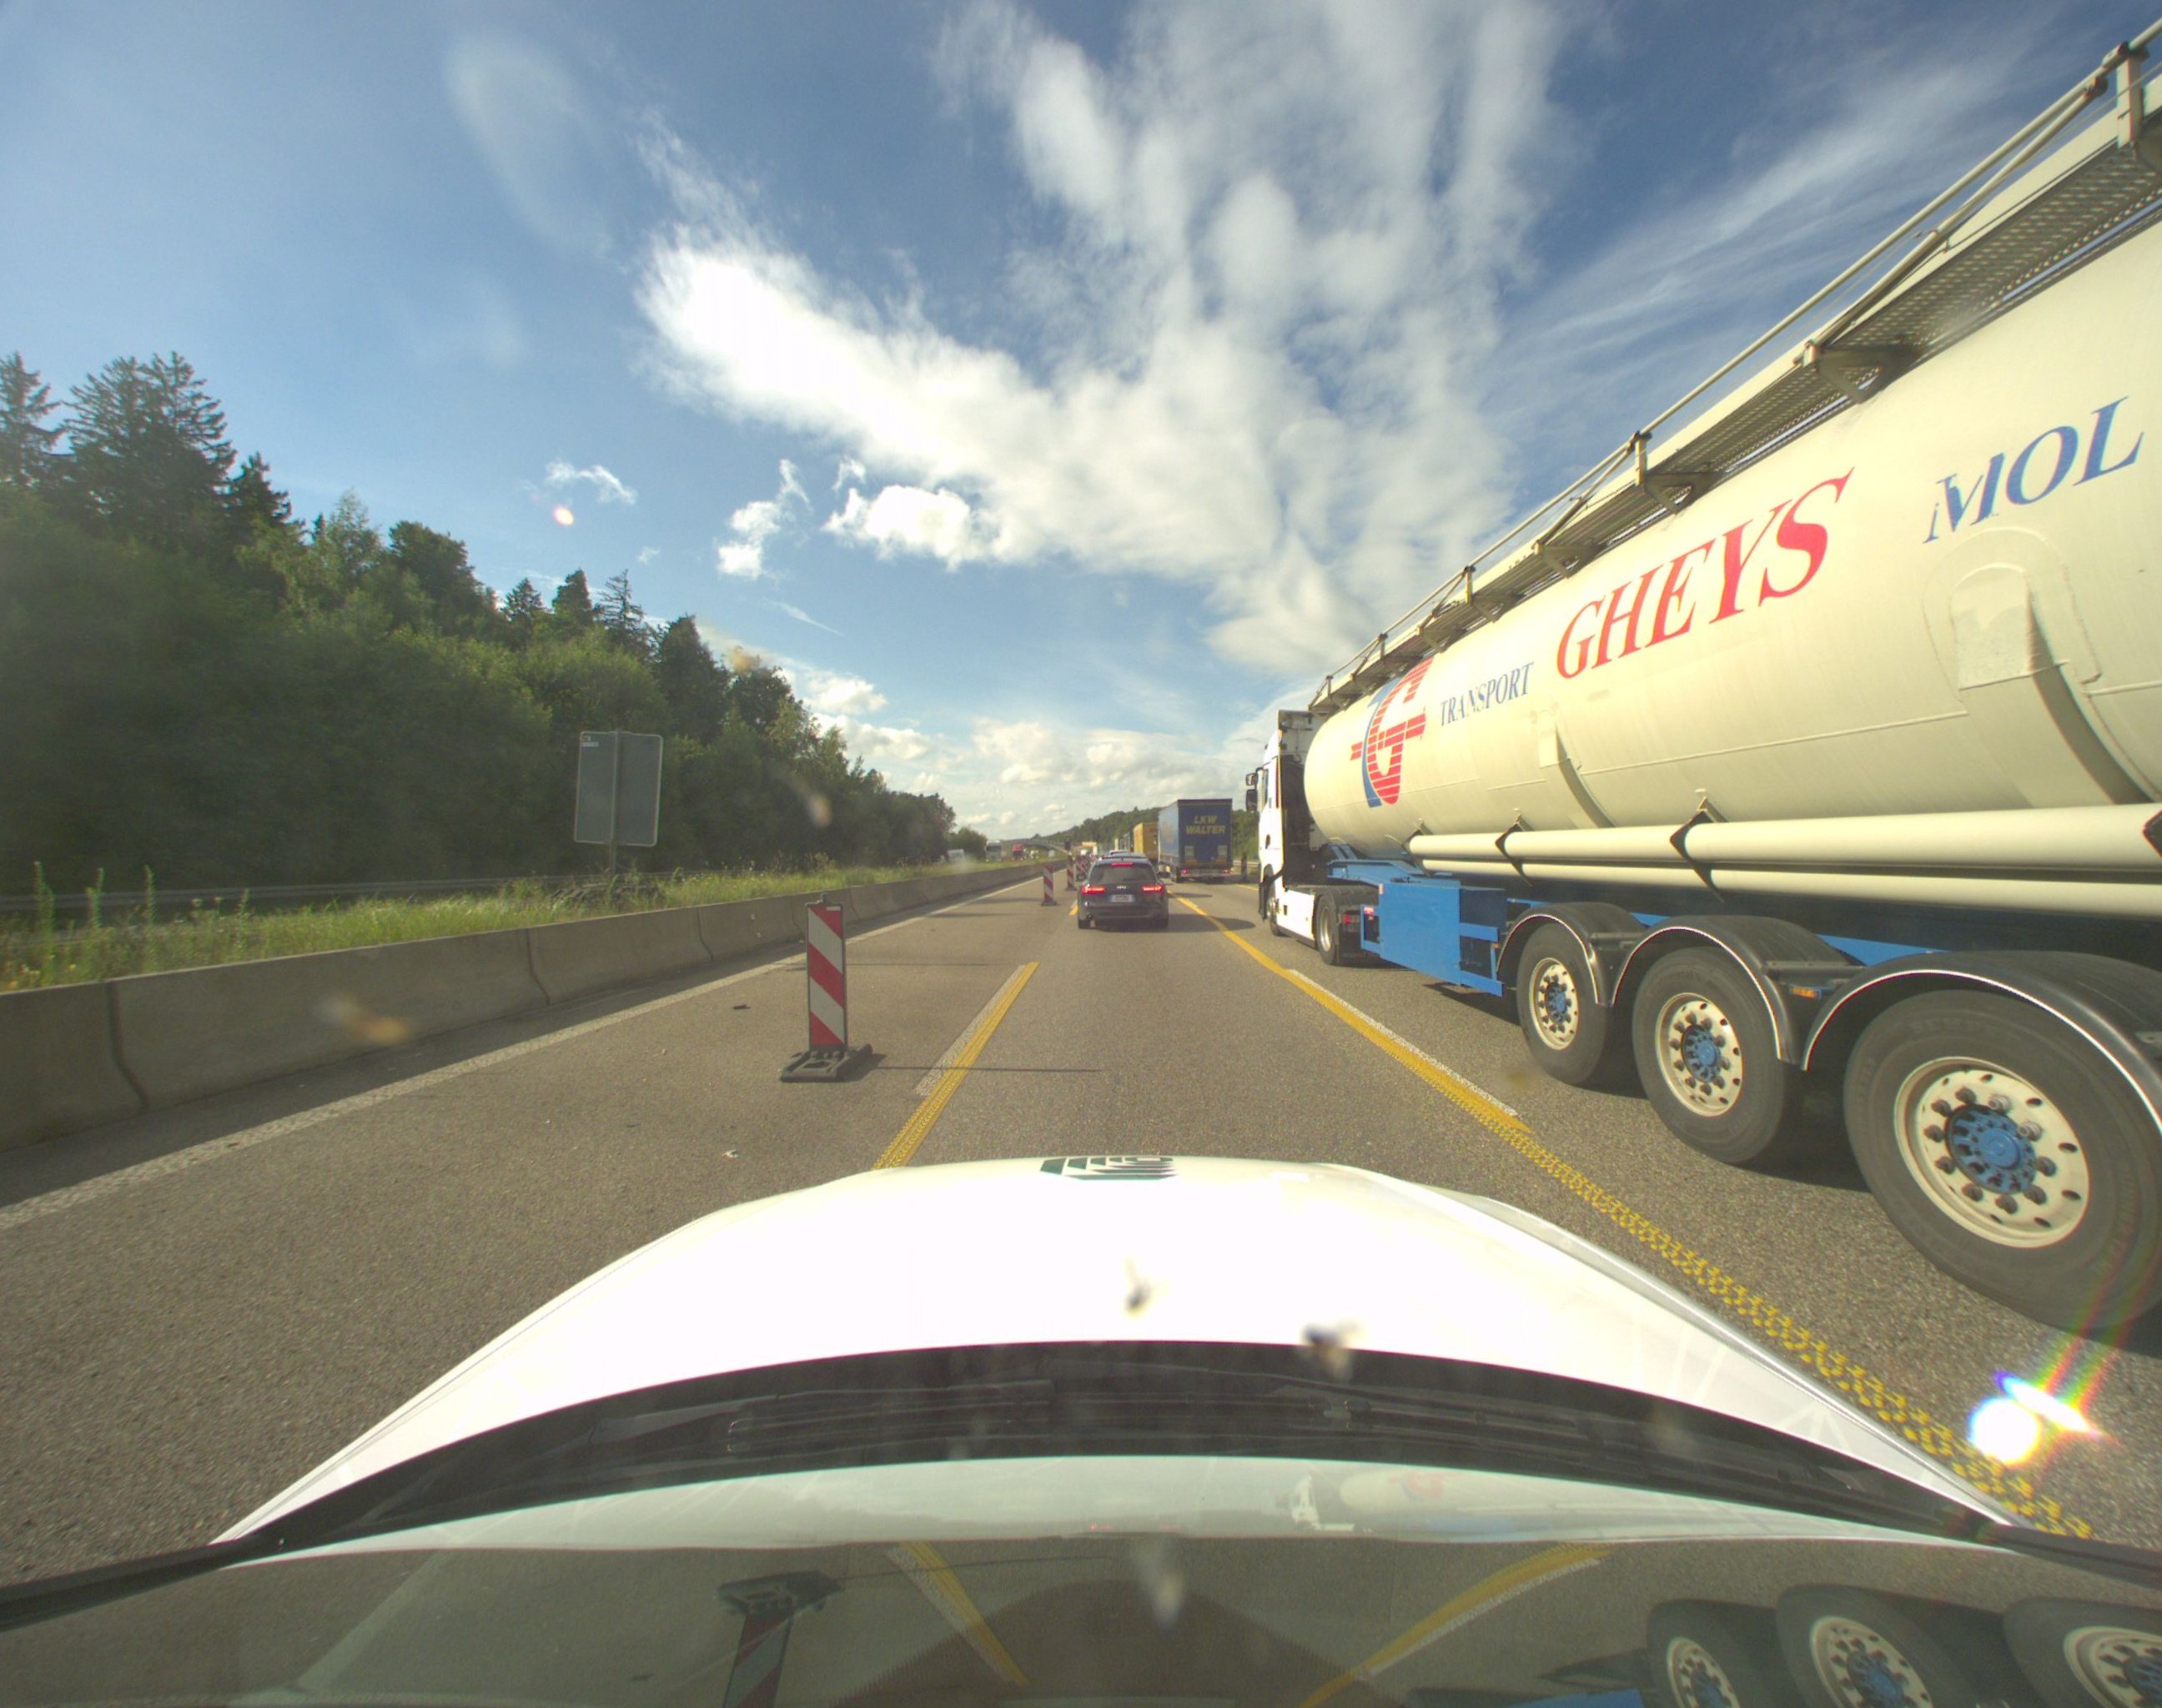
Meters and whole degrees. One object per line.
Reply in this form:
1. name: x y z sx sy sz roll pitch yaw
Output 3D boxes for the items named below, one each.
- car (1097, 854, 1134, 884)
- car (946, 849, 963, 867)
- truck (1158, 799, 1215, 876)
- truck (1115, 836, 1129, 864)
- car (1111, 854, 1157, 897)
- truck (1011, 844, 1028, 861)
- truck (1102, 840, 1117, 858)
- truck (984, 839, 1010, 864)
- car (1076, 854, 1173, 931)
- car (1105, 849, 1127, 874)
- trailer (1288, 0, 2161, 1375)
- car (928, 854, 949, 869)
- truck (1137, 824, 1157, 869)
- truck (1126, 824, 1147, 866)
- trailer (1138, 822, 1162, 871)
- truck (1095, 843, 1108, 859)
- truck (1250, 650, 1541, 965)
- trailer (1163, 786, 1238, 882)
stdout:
1. car: 1.701 0.738 40.169 1.744 1.397 3.610 0 -1 2
2. car: -18.791 0.568 121.208 2.247 2.643 5.010 0 -1 -5
3. truck: 6.337 -0.893 49.999 2.795 4.370 7.796 0 -1 2
4. truck: 6.528 -0.594 130.884 2.129 4.257 7.074 0 -1 2
5. car: 1.857 0.744 29.139 1.518 1.439 3.287 0 -1 2
6. truck: -14.665 -0.373 195.534 2.789 3.992 10.192 -1 0 3
7. truck: 6.827 -1.140 194.179 3.293 4.175 9.702 -1 0 1
8. truck: -14.010 -0.308 137.116 2.771 3.985 10.867 0 -1 2
9. car: 0.918 0.758 17.680 1.841 1.463 4.002 -1 -1 2
10. car: 2.554 0.548 59.811 1.575 1.837 3.113 0 -1 2
11. trailer: 4.278 -0.625 6.300 2.634 3.943 12.604 0 0 2
12. car: -19.408 1.015 111.353 1.986 2.014 4.002 0 -1 2
13. truck: 5.873 -0.642 72.679 1.604 3.897 4.073 0 -1 2
14. truck: 6.736 -1.061 99.915 1.986 4.914 9.564 0 0 1
15. trailer: 5.749 -0.598 68.415 1.610 3.918 6.491 0 -1 2
16. truck: 5.572 -0.821 225.273 3.294 4.174 9.699 -1 0 -1
17. truck: 4.574 -0.568 13.190 2.648 3.972 5.782 0 -1 2
18. trailer: 6.071 -0.883 43.009 2.794 4.413 10.438 0 -1 2
